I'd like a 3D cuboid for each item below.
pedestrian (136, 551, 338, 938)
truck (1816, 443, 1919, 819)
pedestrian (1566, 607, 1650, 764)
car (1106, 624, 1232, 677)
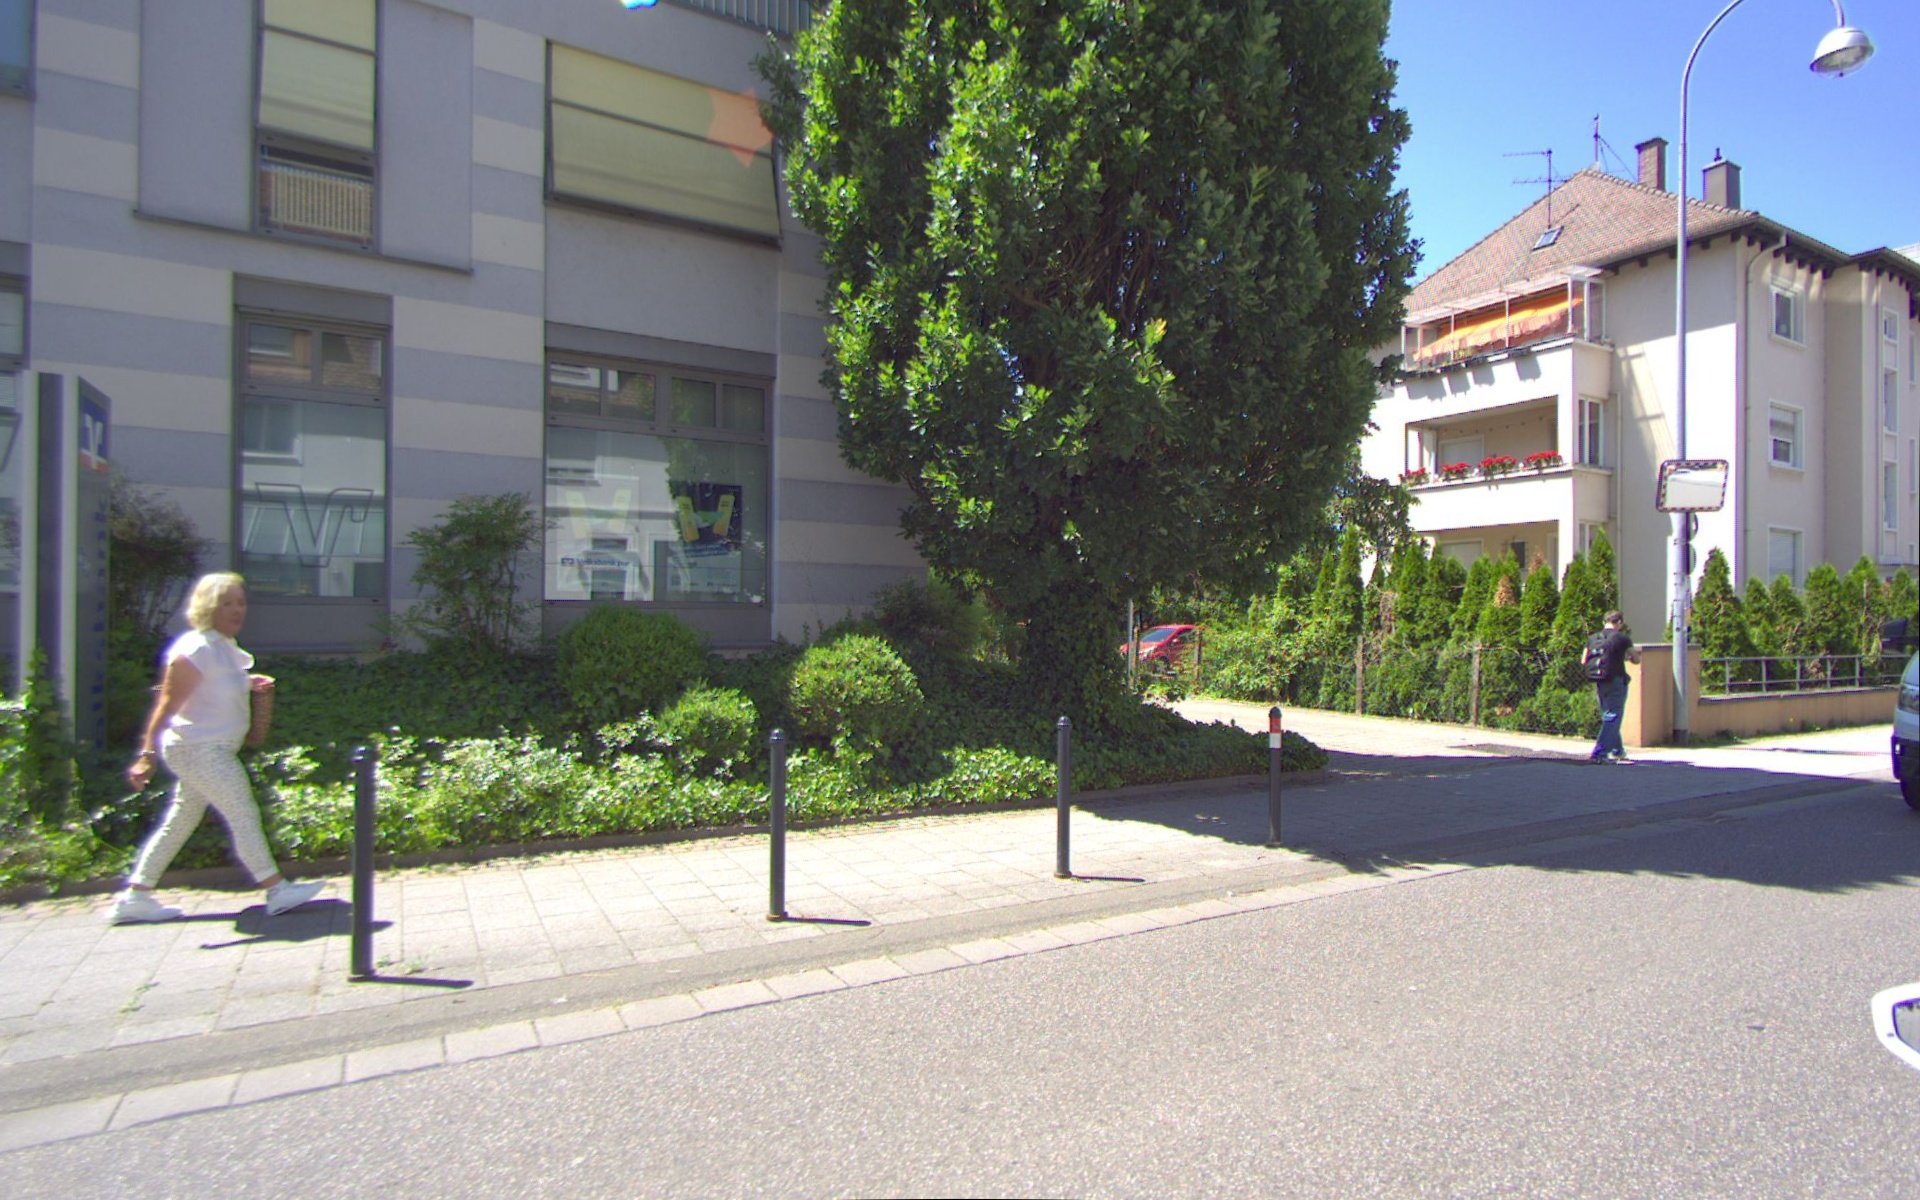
[{"bbox_3d":[-3.443,0.647,4.843,0.700,1.707,0.534,1,-1,-30],"label":"pedestrian"},{"bbox_3d":[10.648,0.294,9.169,6.184,3.023,2.408,1,-2,-30],"label":"truck"},{"bbox_3d":[7.306,0.936,11.325,0.700,1.707,0.534,1,-1,-30],"label":"pedestrian"},{"bbox_3d":[6.158,1.461,29.584,3.377,1.439,1.703,1,-1,-31],"label":"car"}]
